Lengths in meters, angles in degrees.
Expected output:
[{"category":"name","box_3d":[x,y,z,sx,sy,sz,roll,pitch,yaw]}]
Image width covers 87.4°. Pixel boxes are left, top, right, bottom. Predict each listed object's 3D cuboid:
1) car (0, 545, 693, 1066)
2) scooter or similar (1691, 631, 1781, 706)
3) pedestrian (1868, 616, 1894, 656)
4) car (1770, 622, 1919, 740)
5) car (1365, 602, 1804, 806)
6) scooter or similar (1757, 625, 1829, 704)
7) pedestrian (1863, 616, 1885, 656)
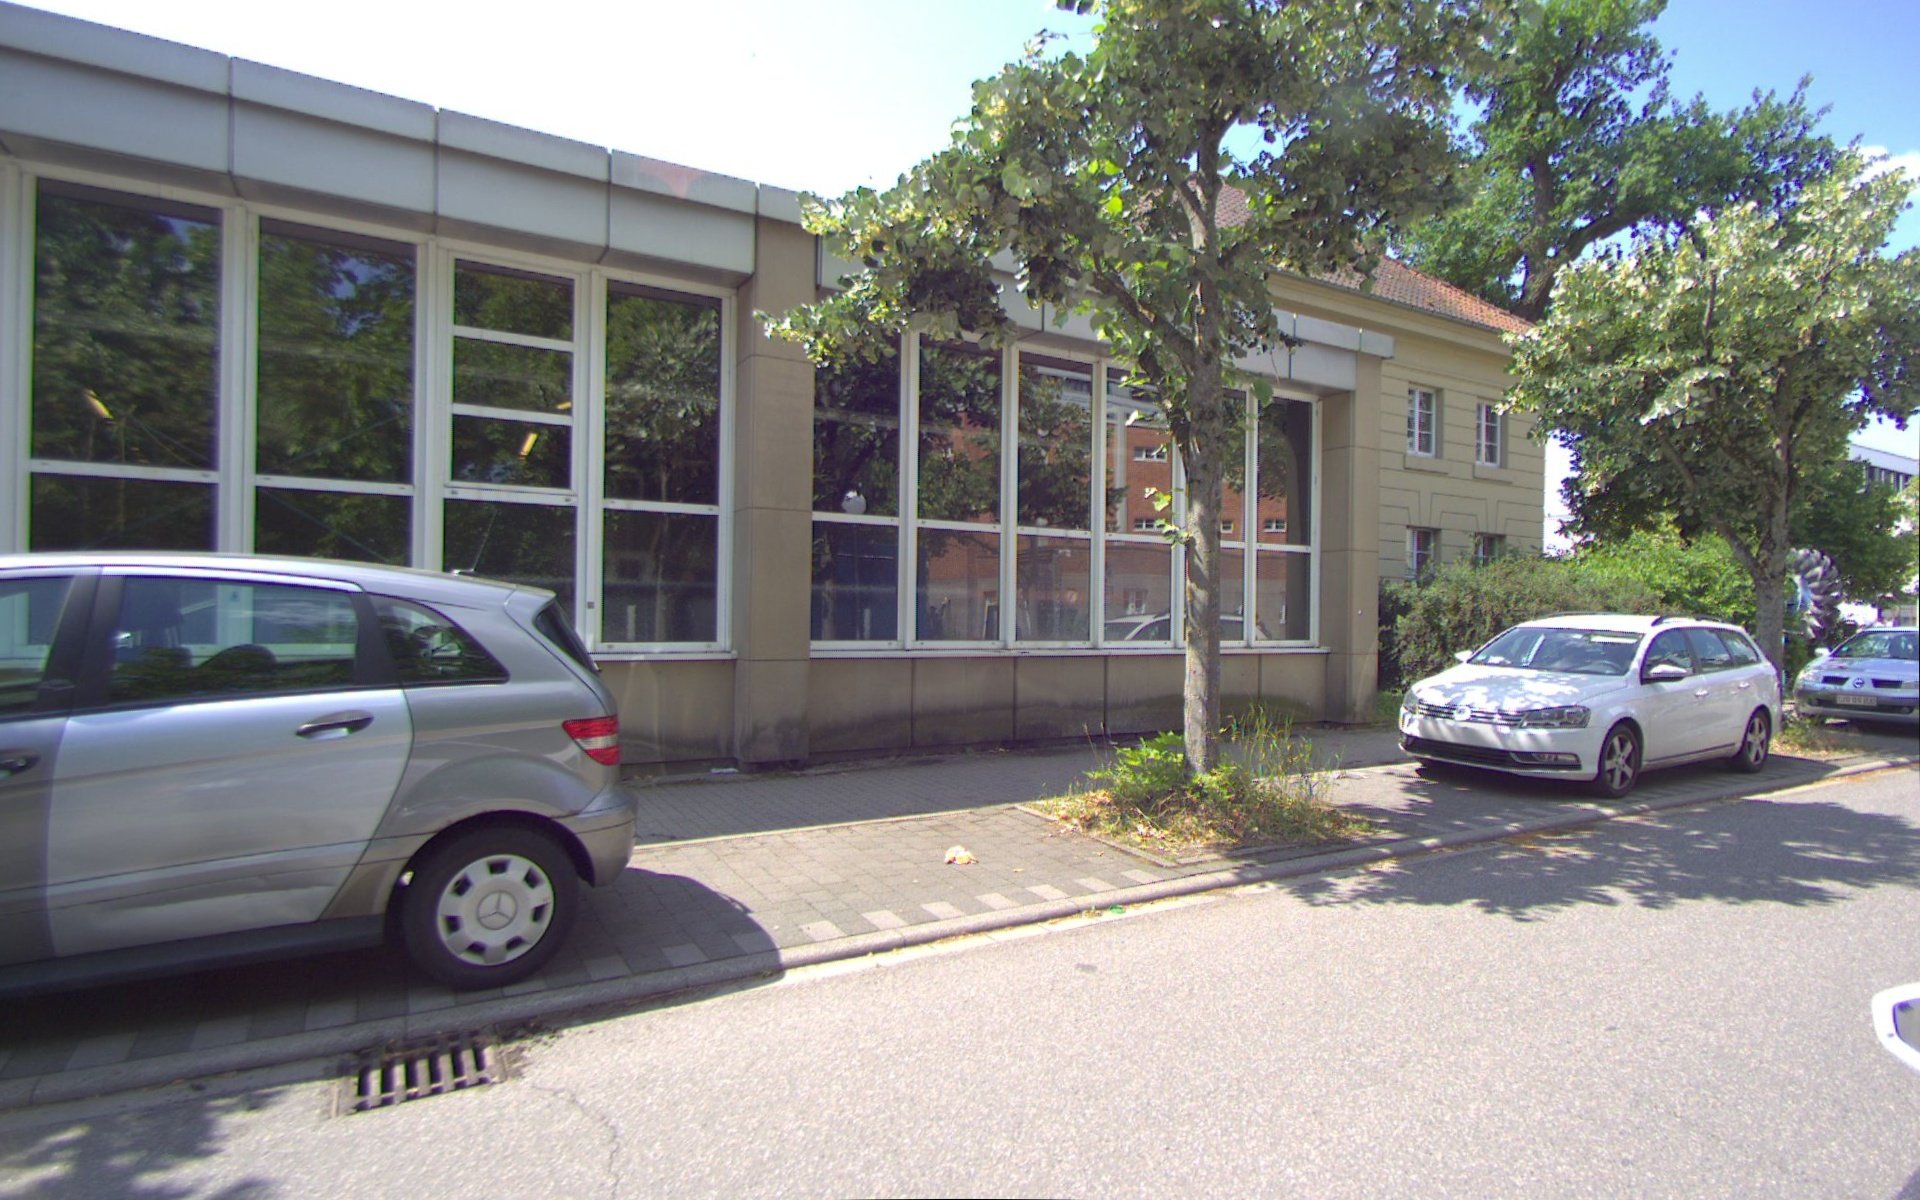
[{"category":"car","box_3d":[-3.293,0.599,3.802,4.068,1.577,1.747,1,1,-33]},{"category":"scooter or similar","box_3d":[12.693,1.121,16.431,1.205,1.187,0.471,1,0,-11]},{"category":"pedestrian","box_3d":[41.489,1.620,45.235,0.629,1.772,0.690,1,0,-30]},{"category":"car","box_3d":[13.107,1.027,13.740,4.115,1.362,1.717,1,1,-29]},{"category":"car","box_3d":[6.008,0.830,9.493,4.533,1.476,1.715,1,1,-33]},{"category":"scooter or similar","box_3d":[14.303,1.096,17.238,1.214,1.304,0.522,0,-3,-31]},{"category":"pedestrian","box_3d":[40.921,1.600,44.976,0.579,1.788,0.549,1,0,-30]}]
